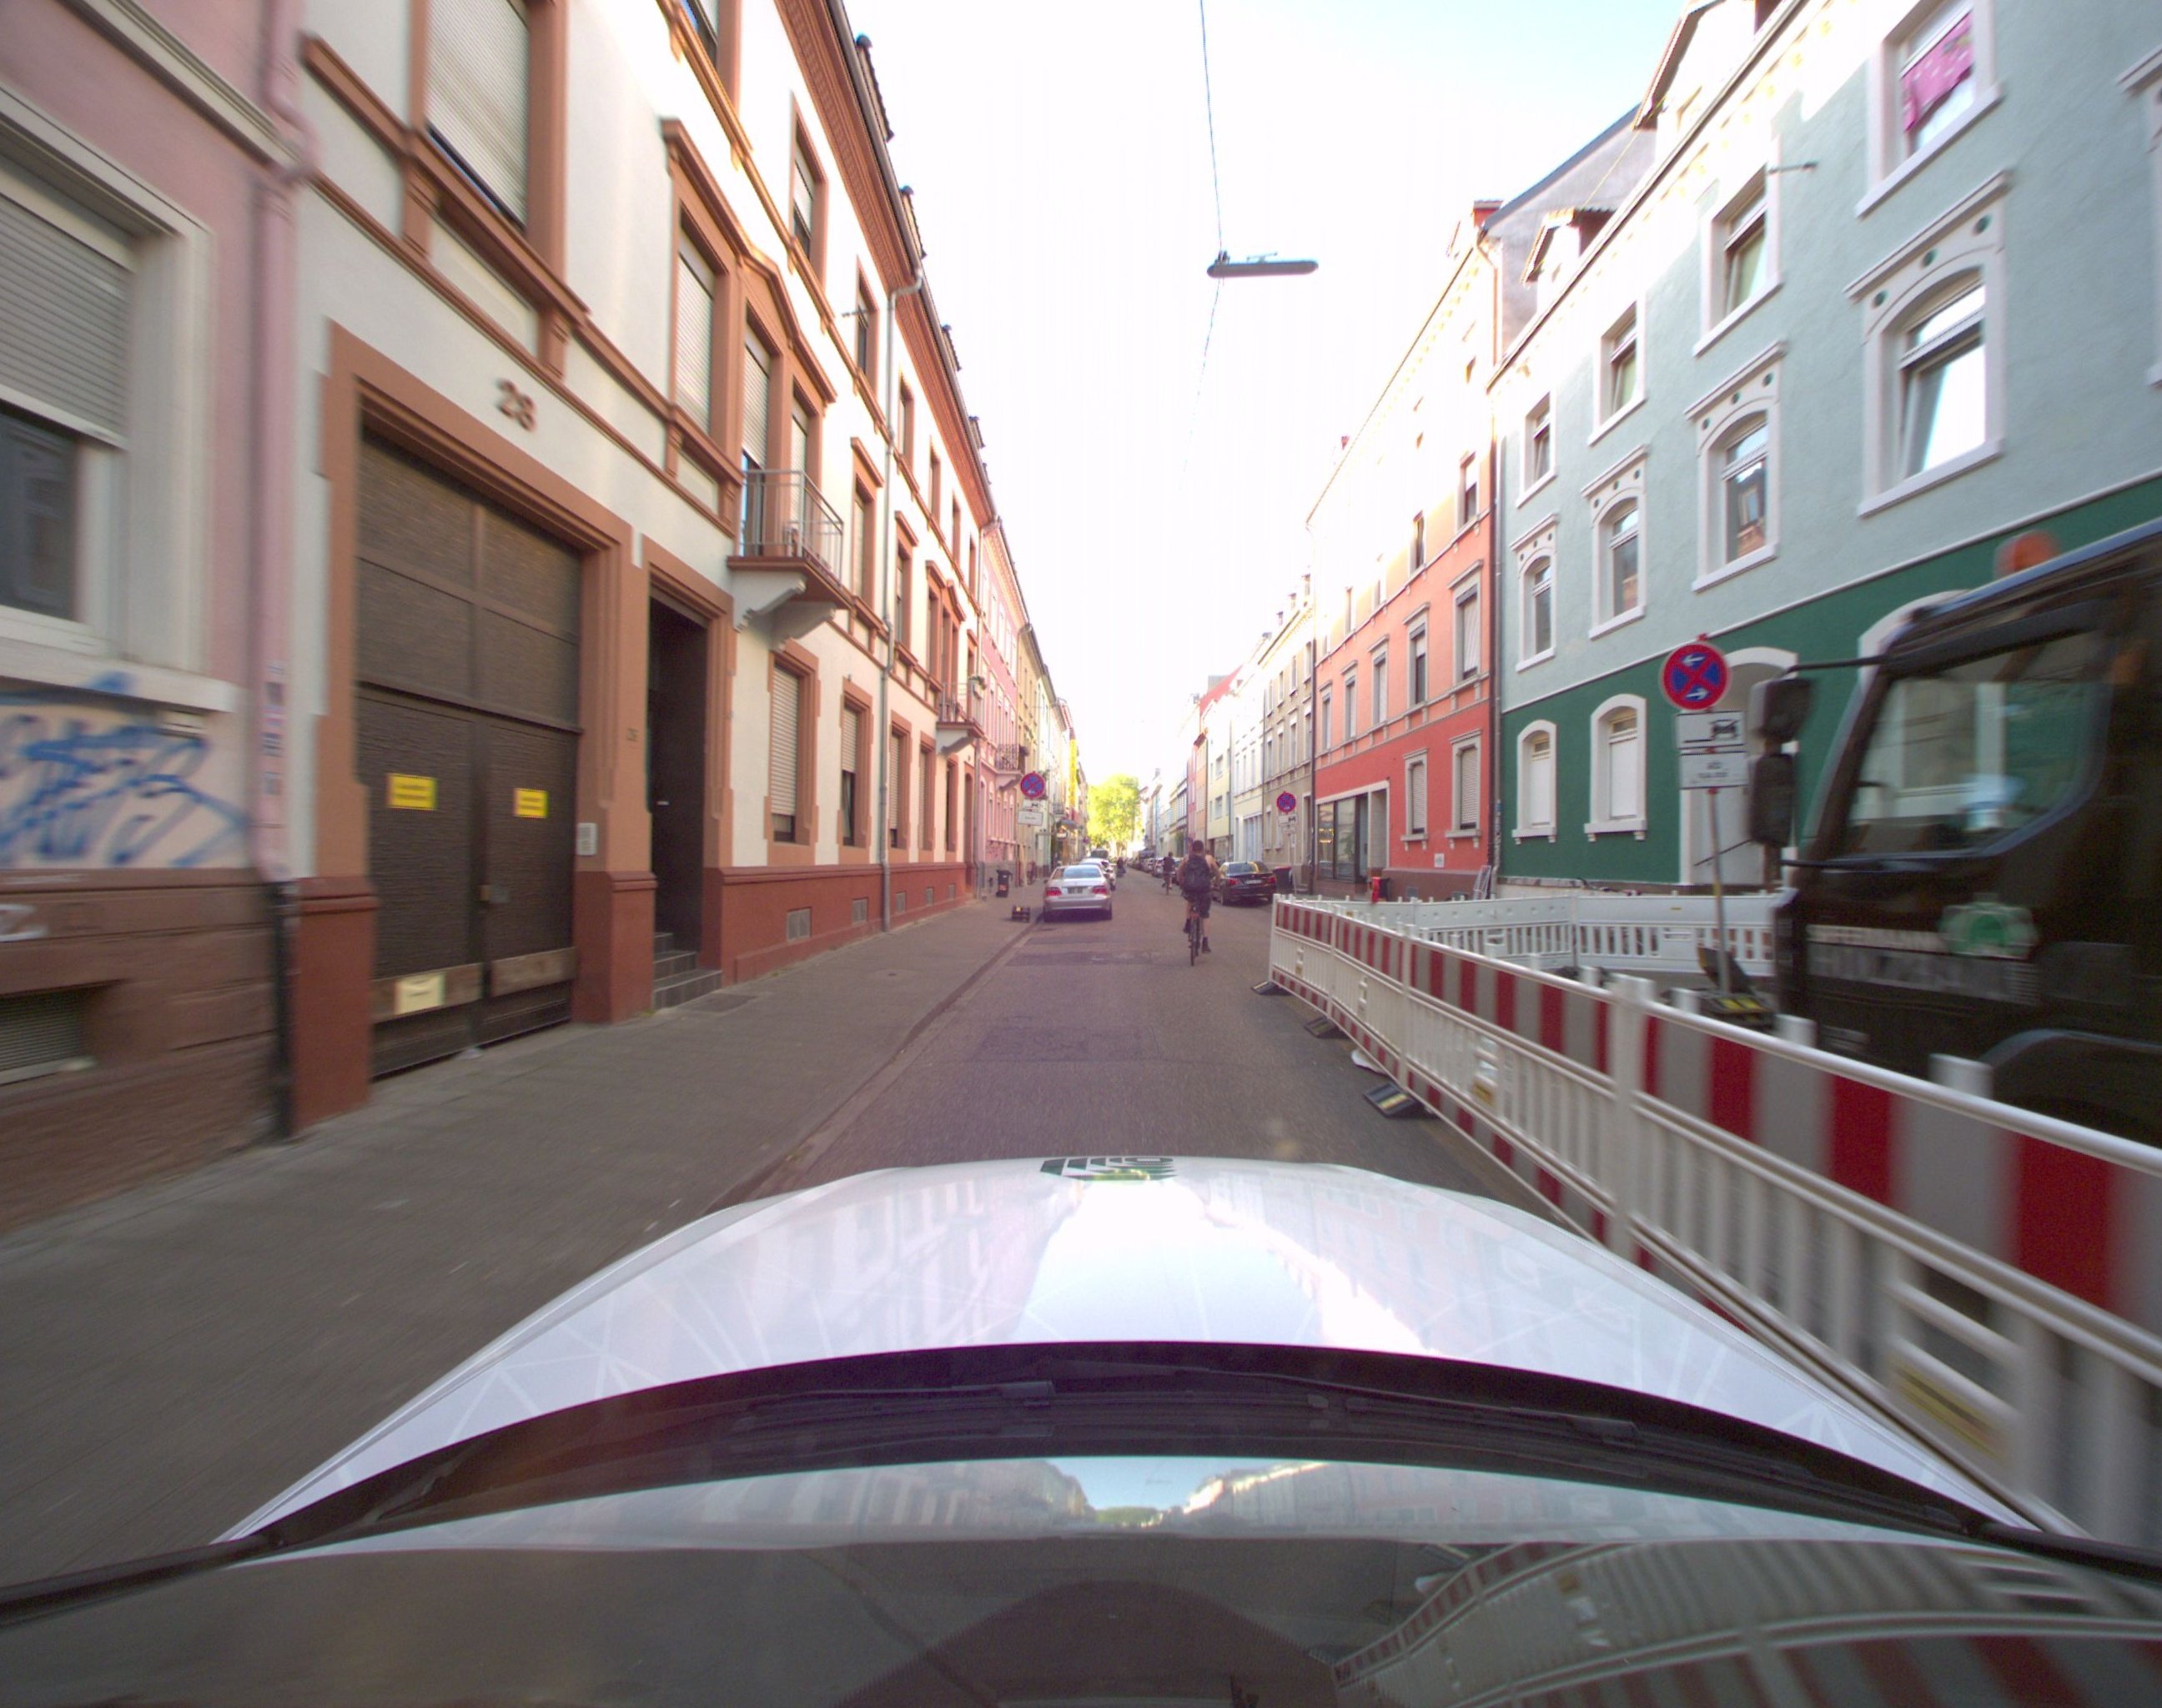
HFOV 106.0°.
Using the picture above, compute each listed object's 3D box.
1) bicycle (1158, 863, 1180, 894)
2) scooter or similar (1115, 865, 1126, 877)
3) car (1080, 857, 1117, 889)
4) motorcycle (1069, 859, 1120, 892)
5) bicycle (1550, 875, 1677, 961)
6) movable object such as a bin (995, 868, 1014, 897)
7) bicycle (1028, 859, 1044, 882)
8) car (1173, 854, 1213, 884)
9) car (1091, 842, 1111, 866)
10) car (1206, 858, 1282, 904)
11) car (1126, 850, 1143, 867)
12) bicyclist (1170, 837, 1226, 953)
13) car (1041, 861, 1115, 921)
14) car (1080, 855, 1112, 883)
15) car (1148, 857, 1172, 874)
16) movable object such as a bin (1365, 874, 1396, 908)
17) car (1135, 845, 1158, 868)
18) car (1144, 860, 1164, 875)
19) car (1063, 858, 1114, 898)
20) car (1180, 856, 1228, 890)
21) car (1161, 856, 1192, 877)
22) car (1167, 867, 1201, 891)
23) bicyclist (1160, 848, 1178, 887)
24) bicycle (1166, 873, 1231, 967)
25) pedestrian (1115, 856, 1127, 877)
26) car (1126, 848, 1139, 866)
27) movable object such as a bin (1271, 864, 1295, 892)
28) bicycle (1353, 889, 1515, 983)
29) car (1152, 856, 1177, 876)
[{"bbox_3d":[3.682,0.998,34.236,0.699,1.208,2.343,0,1,1],"label":"bicycle"},{"bbox_3d":[3.010,1.316,61.486,0.768,0.873,0.771,2,-1,1],"label":"scooter or similar"},{"bbox_3d":[0.856,0.890,38.898,1.666,1.442,4.166,-1,-1,2],"label":"car"},{"bbox_3d":[0.599,0.957,36.017,2.151,1.359,0.537,-2,0,-17],"label":"motorcycle"},{"bbox_3d":[7.833,0.900,12.089,0.652,1.128,1.835,-3,-1,2],"label":"bicycle"},{"bbox_3d":[-2.574,0.941,27.302,0.541,0.945,0.487,2,-1,2],"label":"movable object such as a bin"},{"bbox_3d":[-2.220,0.832,40.407,0.590,1.089,2.080,2,-1,2],"label":"bicycle"},{"bbox_3d":[6.074,0.799,44.387,1.704,1.556,4.001,-1,-1,2],"label":"car"},{"bbox_3d":[2.098,0.016,86.315,1.903,2.497,4.164,0,0,0],"label":"car"},{"bbox_3d":[5.645,0.904,28.718,1.810,1.438,4.792,-1,-1,2],"label":"car"},{"bbox_3d":[8.007,0.691,123.029,2.299,2.538,6.771,-1,-1,2],"label":"car"},{"bbox_3d":[1.710,0.576,12.031,0.699,1.633,1.090,1,0,2],"label":"bicyclist"},{"bbox_3d":[-0.007,0.910,21.514,1.704,1.383,4.507,-1,-1,2],"label":"car"},{"bbox_3d":[0.839,0.817,44.663,1.666,1.442,3.769,-1,-1,2],"label":"car"},{"bbox_3d":[6.801,1.006,70.379,1.704,1.393,4.001,-1,-1,2],"label":"car"},{"bbox_3d":[8.177,1.003,22.222,0.595,0.906,0.579,-2,-2,0],"label":"movable object such as a bin"},{"bbox_3d":[7.781,0.348,97.499,2.299,2.538,6.771,-1,-1,2],"label":"car"},{"bbox_3d":[7.347,1.326,82.011,1.704,1.447,4.001,-1,-1,2],"label":"car"},{"bbox_3d":[0.370,0.882,31.853,1.703,1.383,4.360,1,1,4],"label":"car"},{"bbox_3d":[5.875,0.907,39.262,1.810,1.521,4.001,-1,-1,2],"label":"car"},{"bbox_3d":[6.463,0.840,55.520,1.704,1.383,4.001,1,-1,2],"label":"car"},{"bbox_3d":[6.278,1.490,50.056,1.704,1.383,4.001,-1,-1,2],"label":"car"},{"bbox_3d":[3.670,0.557,34.084,0.699,1.605,0.813,0,0,1],"label":"bicyclist"},{"bbox_3d":[1.719,0.918,12.185,0.699,1.208,2.343,1,0,2],"label":"bicycle"},{"bbox_3d":[3.032,0.973,61.856,0.768,1.578,0.900,2,-1,1],"label":"pedestrian"},{"bbox_3d":[10.781,0.623,170.384,2.299,3.768,6.771,-1,-1,2],"label":"car"},{"bbox_3d":[7.999,0.949,32.300,0.735,1.075,0.676,-2,-1,-5],"label":"movable object such as a bin"},{"bbox_3d":[4.594,1.058,10.647,1.846,1.110,0.642,2,-1,-6],"label":"bicycle"},{"bbox_3d":[6.646,0.970,65.089,1.614,1.550,4.001,-1,-1,2],"label":"car"}]
